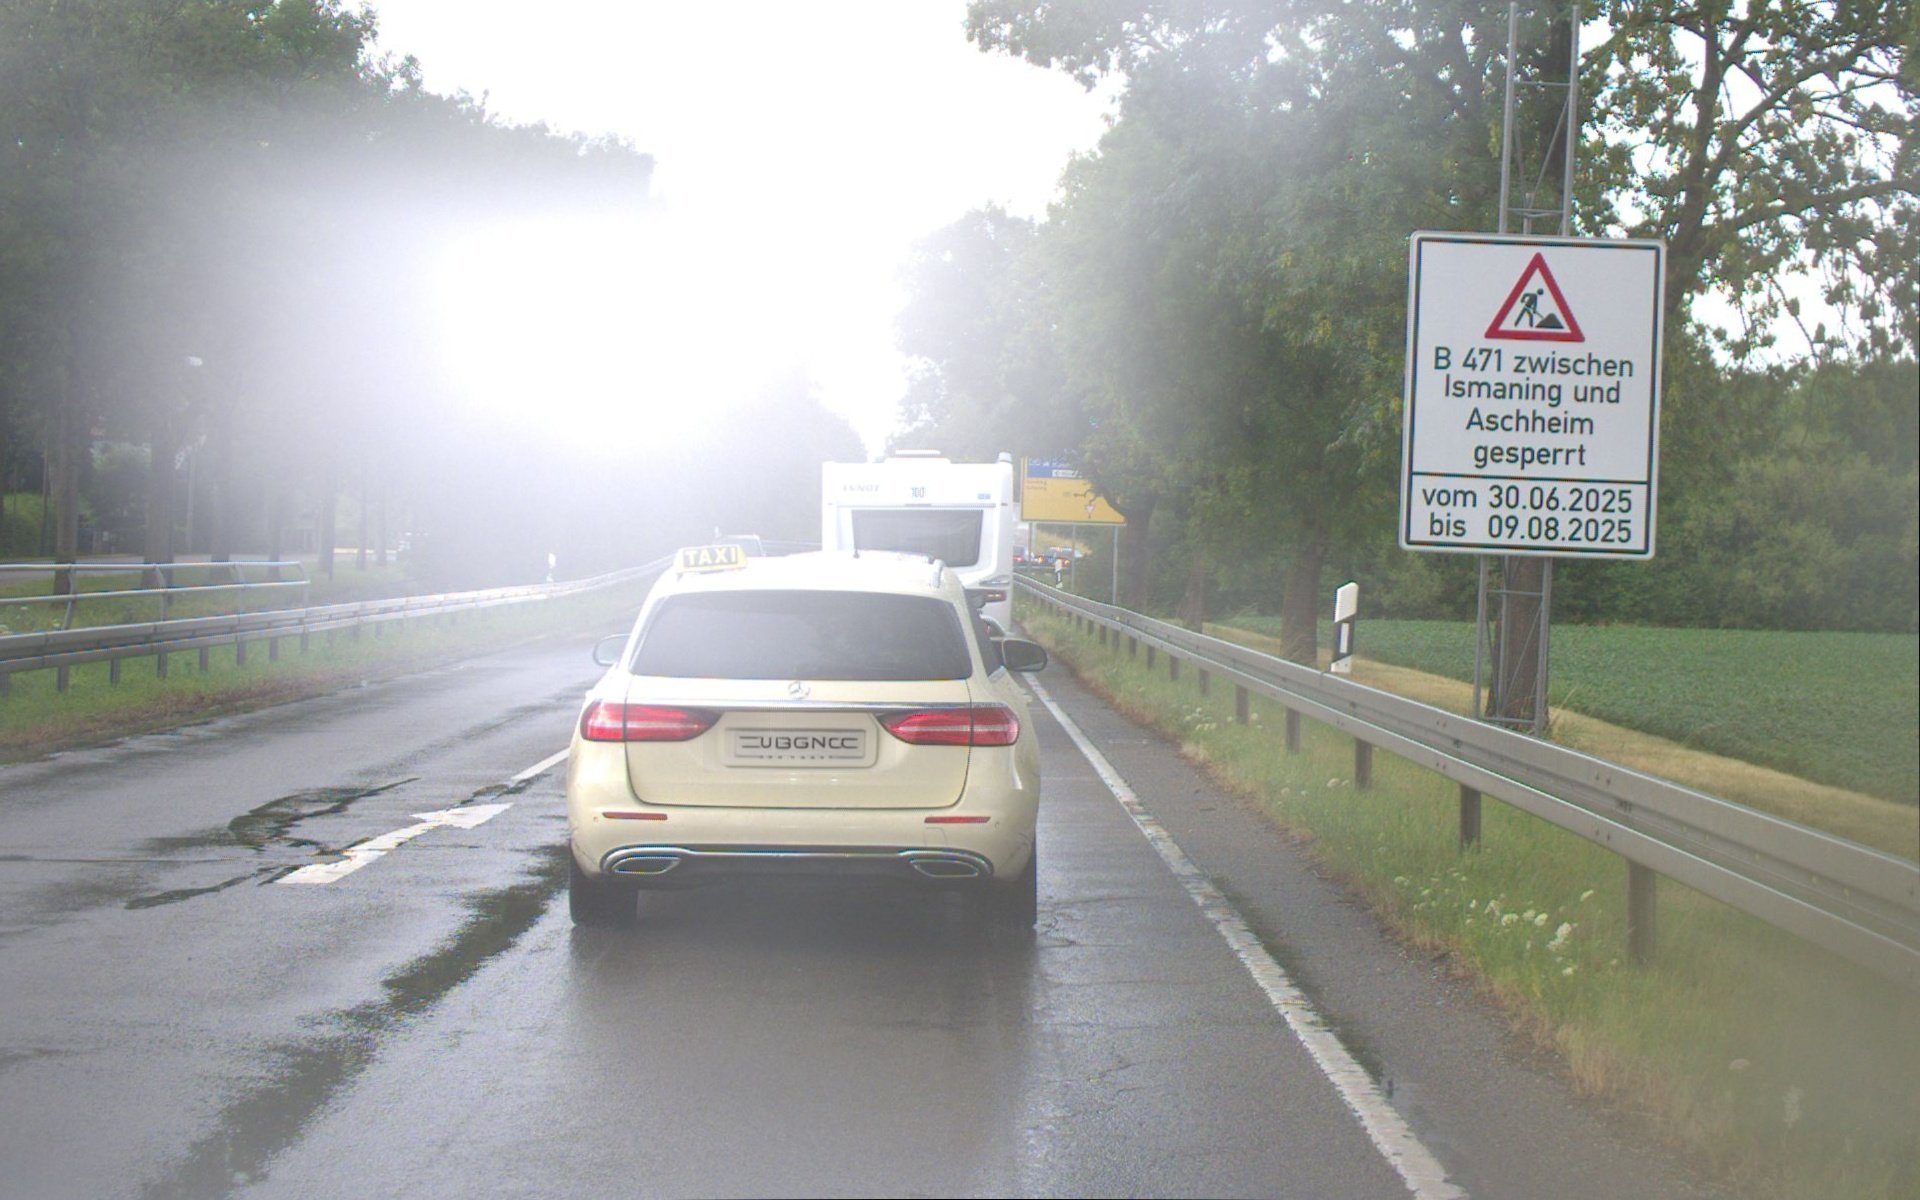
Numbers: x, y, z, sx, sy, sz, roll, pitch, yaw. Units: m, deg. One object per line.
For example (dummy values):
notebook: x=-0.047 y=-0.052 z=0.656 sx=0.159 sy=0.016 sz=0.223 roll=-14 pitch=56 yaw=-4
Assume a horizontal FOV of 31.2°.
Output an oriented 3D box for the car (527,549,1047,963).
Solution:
car: x=-0.599 y=0.530 z=14.358 sx=1.865 sy=1.471 sz=4.000 roll=0 pitch=1 yaw=1

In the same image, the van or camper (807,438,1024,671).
van or camper: x=-0.483 y=-0.585 z=42.976 sx=2.489 sy=2.676 sz=5.700 roll=1 pitch=1 yaw=1

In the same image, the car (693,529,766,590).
car: x=-6.225 y=-1.104 z=93.014 sx=1.764 sy=1.614 sz=4.000 roll=0 pitch=1 yaw=-1

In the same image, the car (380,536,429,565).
car: x=-28.442 y=-2.556 z=176.117 sx=1.785 sy=1.411 sz=4.000 roll=2 pitch=1 yaw=1

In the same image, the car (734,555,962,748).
car: x=-0.843 y=0.360 z=27.909 sx=1.664 sy=1.426 sz=4.000 roll=0 pitch=1 yaw=1
